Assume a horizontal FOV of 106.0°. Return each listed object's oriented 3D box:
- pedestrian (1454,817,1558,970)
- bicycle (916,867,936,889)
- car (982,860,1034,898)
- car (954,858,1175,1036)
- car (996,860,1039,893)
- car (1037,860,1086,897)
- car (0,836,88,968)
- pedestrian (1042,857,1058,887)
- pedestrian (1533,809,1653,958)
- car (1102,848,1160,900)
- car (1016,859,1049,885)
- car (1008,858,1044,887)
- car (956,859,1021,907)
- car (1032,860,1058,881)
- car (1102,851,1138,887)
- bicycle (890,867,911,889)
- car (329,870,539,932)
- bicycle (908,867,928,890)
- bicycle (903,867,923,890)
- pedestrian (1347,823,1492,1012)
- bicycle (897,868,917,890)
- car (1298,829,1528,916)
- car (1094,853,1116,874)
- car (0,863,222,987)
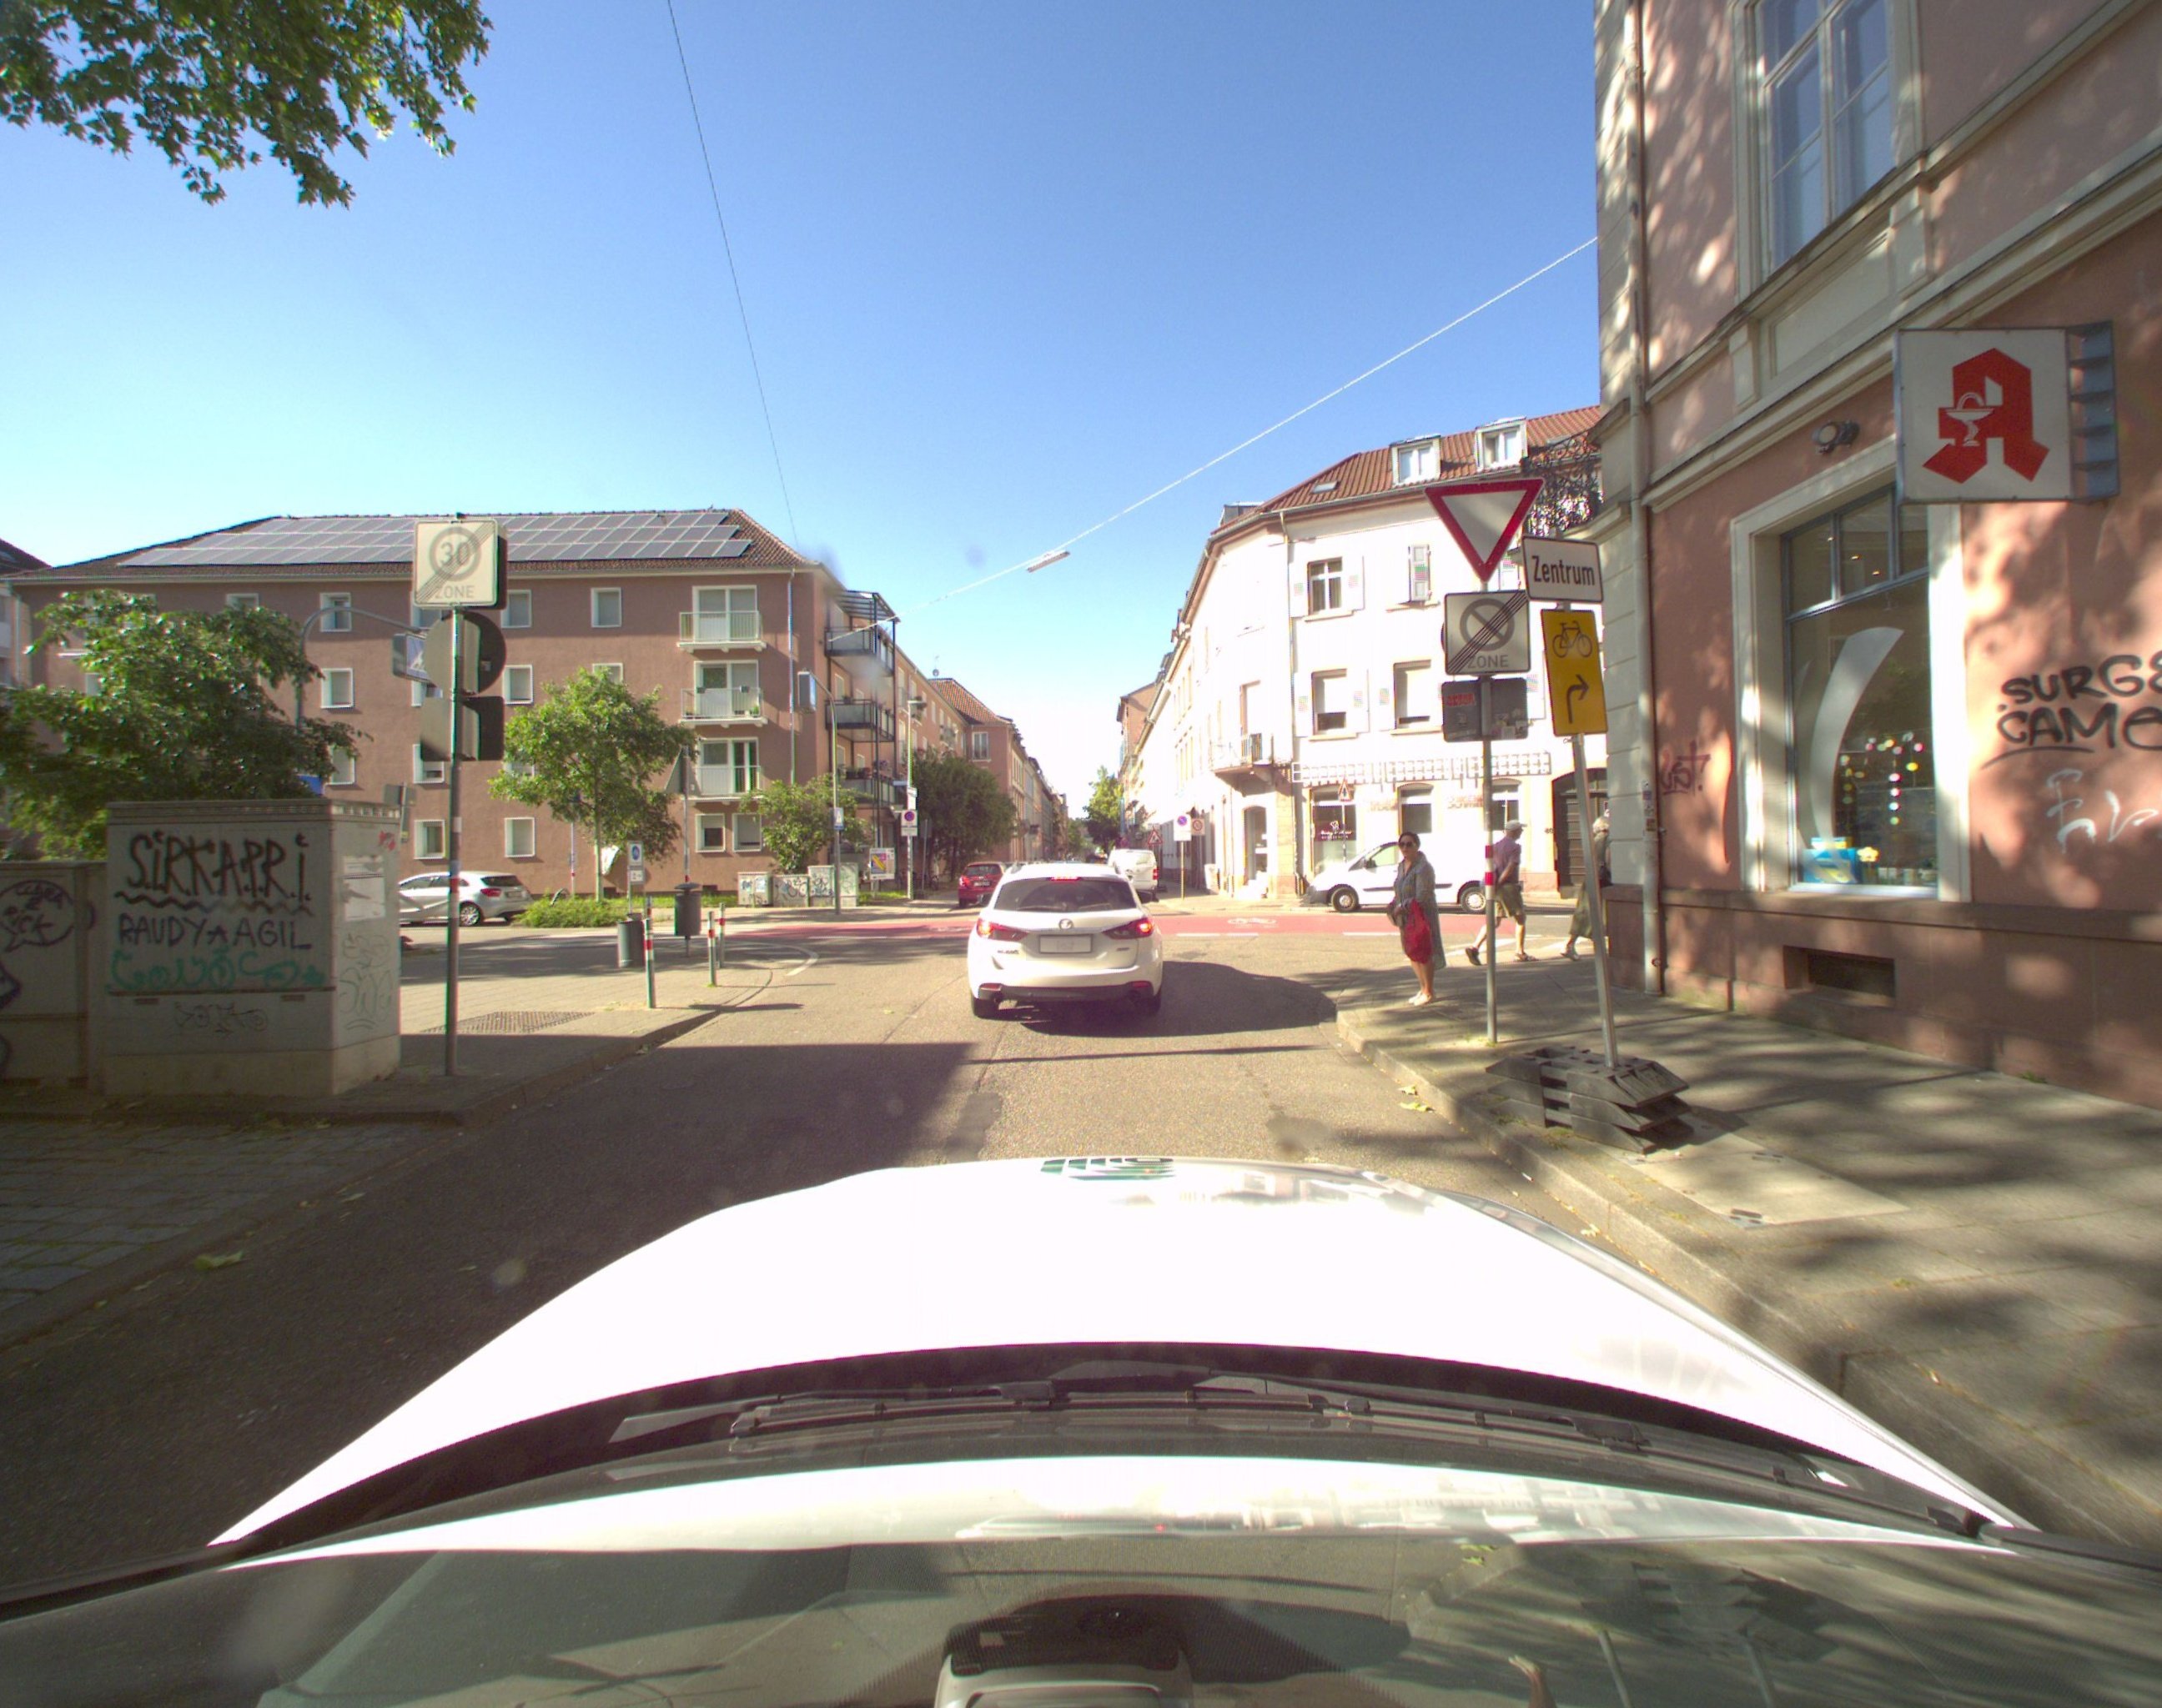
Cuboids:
[{"bbox_3d":[5.181,0.476,9.990,0.747,1.765,0.830,-2,-3,1],"label":"pedestrian"},{"bbox_3d":[-7.613,1.188,39.914,1.204,1.071,0.255,-2,-1,40],"label":"bicycle"},{"bbox_3d":[-3.033,1.015,34.513,1.647,1.500,4.081,-1,0,2],"label":"car"},{"bbox_3d":[-0.084,0.792,8.825,1.824,1.457,3.963,-1,0,1],"label":"car"},{"bbox_3d":[-3.027,1.045,39.652,1.647,1.500,3.764,-1,0,2],"label":"car"},{"bbox_3d":[-0.724,0.953,33.350,1.754,1.410,4.329,-1,0,2],"label":"car"},{"bbox_3d":[-17.426,0.713,11.098,1.947,2.006,4.742,-1,-2,-1],"label":"car"},{"bbox_3d":[-1.739,1.007,45.791,0.733,1.614,0.813,-2,-1,-11],"label":"pedestrian"},{"bbox_3d":[6.138,0.360,9.807,0.833,1.667,0.626,-5,-4,1],"label":"pedestrian"},{"bbox_3d":[1.878,0.734,31.956,1.889,1.859,5.011,1,0,-1],"label":"car"},{"bbox_3d":[-2.949,1.094,50.367,1.647,1.500,3.764,-1,0,2],"label":"car"},{"bbox_3d":[-3.100,1.016,46.276,1.647,1.500,3.764,-1,0,2],"label":"car"},{"bbox_3d":[-3.158,0.959,28.456,1.678,1.500,3.808,-1,0,2],"label":"car"},{"bbox_3d":[-2.648,1.185,61.011,1.647,1.500,3.764,-1,0,2],"label":"car"},{"bbox_3d":[2.130,0.792,45.140,1.887,1.859,3.996,-1,0,2],"label":"car"},{"bbox_3d":[-8.639,1.157,39.059,1.201,1.035,0.293,-2,-1,40],"label":"bicycle"},{"bbox_3d":[-17.063,1.218,21.612,4.128,1.454,1.746,-2,0,0],"label":"car"},{"bbox_3d":[-7.956,1.196,39.816,1.201,1.071,0.255,-2,-1,40],"label":"bicycle"},{"bbox_3d":[-8.156,1.181,39.589,1.201,1.071,0.255,-2,-1,40],"label":"bicycle"},{"bbox_3d":[3.119,0.565,7.596,0.841,1.573,0.846,-7,-1,1],"label":"pedestrian"},{"bbox_3d":[-8.413,1.206,39.319,1.201,1.072,0.268,-2,-1,40],"label":"bicycle"},{"bbox_3d":[8.073,0.459,20.096,4.964,1.946,2.062,-1,-1,23],"label":"car"},{"bbox_3d":[2.134,0.830,73.237,1.887,1.859,3.996,-1,0,2],"label":"car"},{"bbox_3d":[-15.113,0.966,11.312,1.747,1.612,4.303,-1,0,0],"label":"car"}]
